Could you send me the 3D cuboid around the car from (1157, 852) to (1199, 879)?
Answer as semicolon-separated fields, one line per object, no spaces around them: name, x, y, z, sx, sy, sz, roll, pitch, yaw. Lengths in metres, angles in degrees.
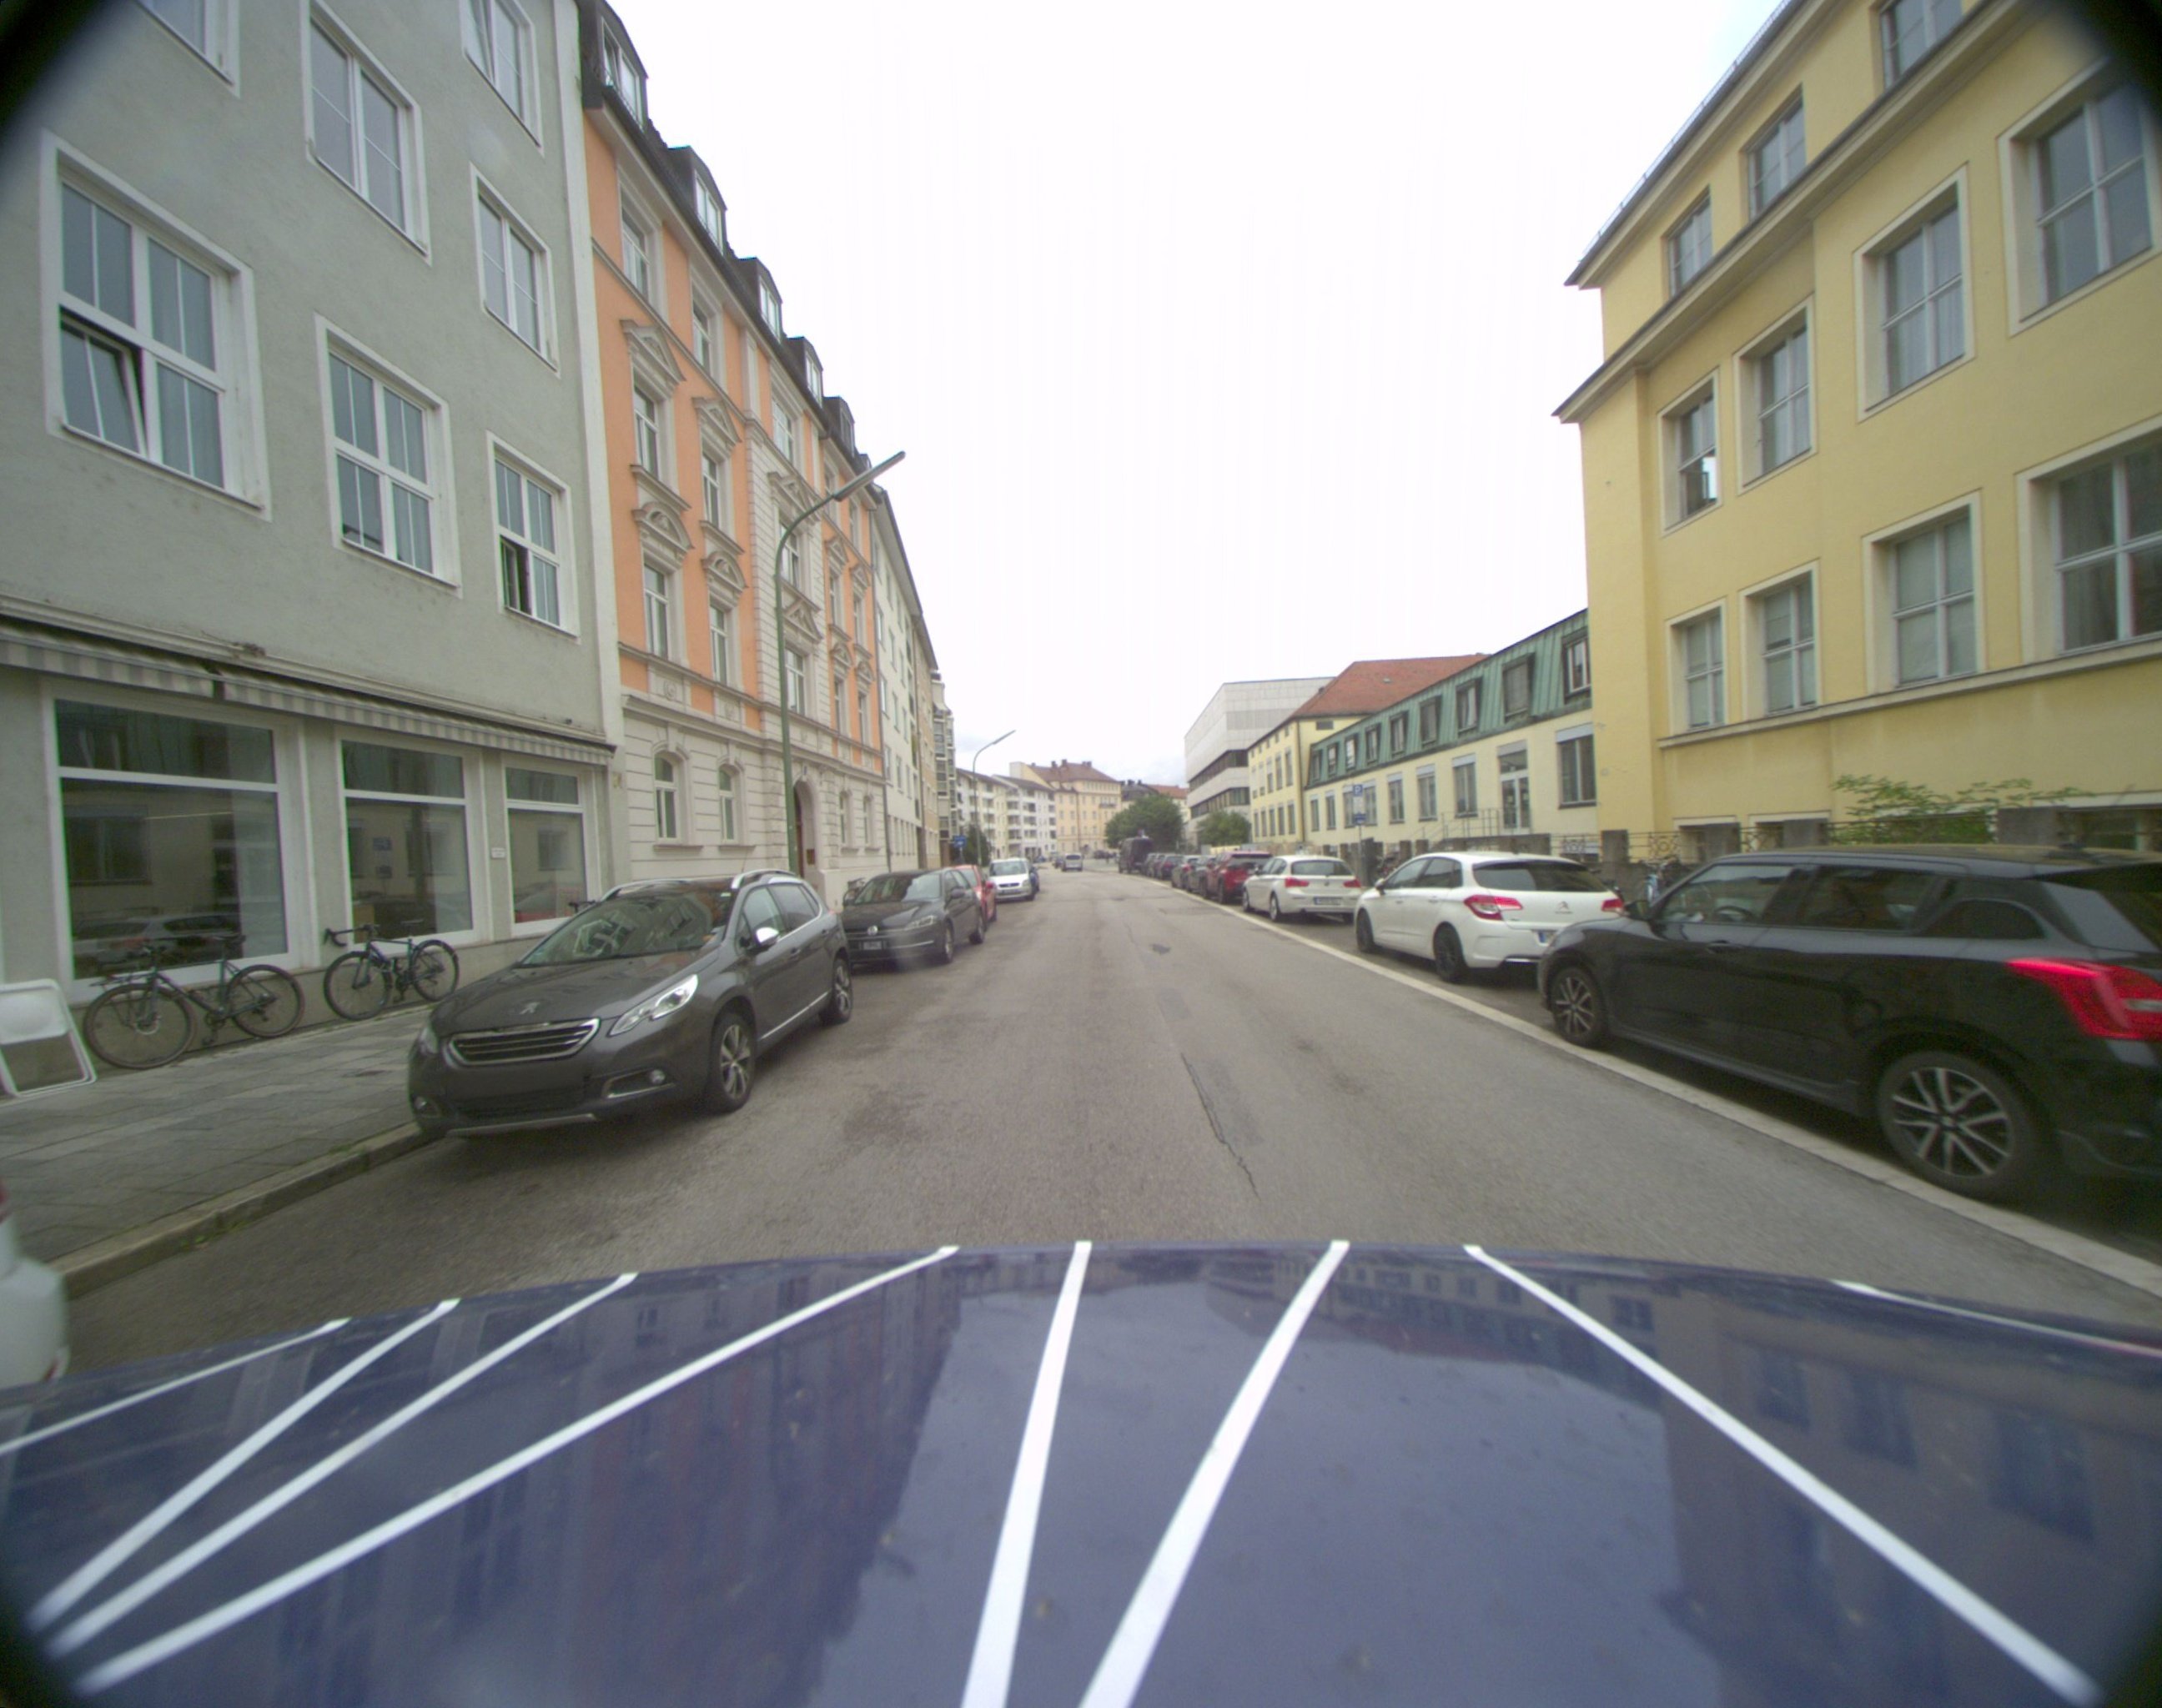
car;5.479;0.631;43.356;1.918;1.473;4.532;0;0;2

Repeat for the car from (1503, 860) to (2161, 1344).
car;4.415;0.835;4.372;1.703;1.488;4.148;1;1;1

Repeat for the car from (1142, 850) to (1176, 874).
car;5.369;0.520;52.624;1.885;1.626;4.348;0;0;-1

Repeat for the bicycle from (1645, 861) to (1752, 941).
bicycle;9.379;0.679;11.621;0.538;1.056;1.641;-3;1;11

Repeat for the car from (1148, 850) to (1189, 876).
car;5.490;0.558;48.119;1.918;1.578;4.351;1;0;-2

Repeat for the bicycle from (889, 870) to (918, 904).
bicycle;-6.302;1.146;27.053;0.725;1.106;1.993;-3;0;-7

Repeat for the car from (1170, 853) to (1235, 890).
car;5.103;0.691;32.565;2.019;1.410;4.614;0;1;-1

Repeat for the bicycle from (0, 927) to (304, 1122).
bicycle;-7.618;1.283;6.243;0.385;1.151;1.949;-3;0;1

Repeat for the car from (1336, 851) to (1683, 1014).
car;4.881;0.747;9.595;1.789;1.423;4.651;-3;1;1

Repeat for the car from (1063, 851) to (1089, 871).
car;-0.547;0.660;74.641;1.921;1.838;5.317;-2;1;-6

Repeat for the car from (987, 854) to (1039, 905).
car;-2.586;0.886;28.409;1.686;1.664;3.802;-5;1;-6

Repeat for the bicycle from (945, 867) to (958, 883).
bicycle;-8.930;1.444;52.591;0.678;1.027;1.752;-3;1;-5

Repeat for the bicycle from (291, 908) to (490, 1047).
bicycle;-7.359;1.256;8.232;0.396;1.170;1.815;-3;1;1

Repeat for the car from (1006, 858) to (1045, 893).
car;-2.857;1.035;38.495;1.710;1.446;4.399;-6;1;-6

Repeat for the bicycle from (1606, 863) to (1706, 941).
bicycle;8.850;0.708;11.763;0.538;1.056;1.641;-3;1;11

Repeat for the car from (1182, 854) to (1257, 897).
car;4.912;0.713;27.528;1.754;1.397;4.353;0;1;-2

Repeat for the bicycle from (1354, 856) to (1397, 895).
bicycle;9.374;0.673;24.248;0.536;1.141;2.106;-3;1;1

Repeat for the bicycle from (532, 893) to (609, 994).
bicycle;-7.012;1.193;10.483;0.248;1.248;1.233;-2;1;-4

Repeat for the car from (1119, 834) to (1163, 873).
car;4.561;-0.051;59.154;2.220;2.837;6.192;-1;1;-7

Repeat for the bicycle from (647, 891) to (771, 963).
bicycle;-6.511;1.250;13.372;1.851;1.061;0.514;-3;1;-41

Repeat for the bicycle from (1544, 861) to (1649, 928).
bicycle;9.079;0.673;13.455;0.576;1.056;1.639;-3;1;-7

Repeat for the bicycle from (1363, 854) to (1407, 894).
bicycle;9.735;0.625;24.415;0.536;1.178;2.106;-3;1;1

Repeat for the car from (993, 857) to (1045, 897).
car;-2.677;0.954;33.702;1.746;1.486;4.548;-3;0;1

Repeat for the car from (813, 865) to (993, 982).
car;-2.695;0.990;12.607;1.691;1.394;4.364;-3;1;3

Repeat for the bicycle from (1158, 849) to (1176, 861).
bicycle;9.168;0.139;80.835;1.815;1.145;0.519;-3;1;-1

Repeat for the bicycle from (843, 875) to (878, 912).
bicycle;-6.883;1.217;23.803;0.597;1.018;1.817;-2;0;-2

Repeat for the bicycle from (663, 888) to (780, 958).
bicycle;-6.564;1.231;13.969;0.620;1.083;1.818;-2;1;36

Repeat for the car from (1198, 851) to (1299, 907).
car;4.893;0.660;22.867;1.963;1.473;4.528;0;1;-1

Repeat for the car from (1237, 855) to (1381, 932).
car;4.931;0.777;17.177;1.798;1.421;4.664;0;1;-1

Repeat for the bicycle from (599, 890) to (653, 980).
bicycle;-6.802;1.185;11.389;0.248;1.248;0.916;-2;1;-4

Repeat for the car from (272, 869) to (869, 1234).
car;-3.126;1.021;5.949;1.711;1.583;4.360;-4;0;-2

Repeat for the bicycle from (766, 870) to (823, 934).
bicycle;-6.786;1.103;18.112;0.597;1.377;2.091;-2;0;-2

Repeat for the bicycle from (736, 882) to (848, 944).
bicycle;-6.090;1.211;16.111;2.096;1.132;0.583;-2;1;-43

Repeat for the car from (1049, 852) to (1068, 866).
car;-2.768;0.570;92.311;1.666;1.466;3.703;-4;2;-9

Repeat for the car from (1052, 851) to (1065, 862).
car;-3.346;0.358;114.363;1.797;1.663;4.148;-2;0;-2

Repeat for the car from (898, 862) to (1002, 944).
car;-2.895;1.028;17.654;1.691;1.491;4.146;-5;0;-2
